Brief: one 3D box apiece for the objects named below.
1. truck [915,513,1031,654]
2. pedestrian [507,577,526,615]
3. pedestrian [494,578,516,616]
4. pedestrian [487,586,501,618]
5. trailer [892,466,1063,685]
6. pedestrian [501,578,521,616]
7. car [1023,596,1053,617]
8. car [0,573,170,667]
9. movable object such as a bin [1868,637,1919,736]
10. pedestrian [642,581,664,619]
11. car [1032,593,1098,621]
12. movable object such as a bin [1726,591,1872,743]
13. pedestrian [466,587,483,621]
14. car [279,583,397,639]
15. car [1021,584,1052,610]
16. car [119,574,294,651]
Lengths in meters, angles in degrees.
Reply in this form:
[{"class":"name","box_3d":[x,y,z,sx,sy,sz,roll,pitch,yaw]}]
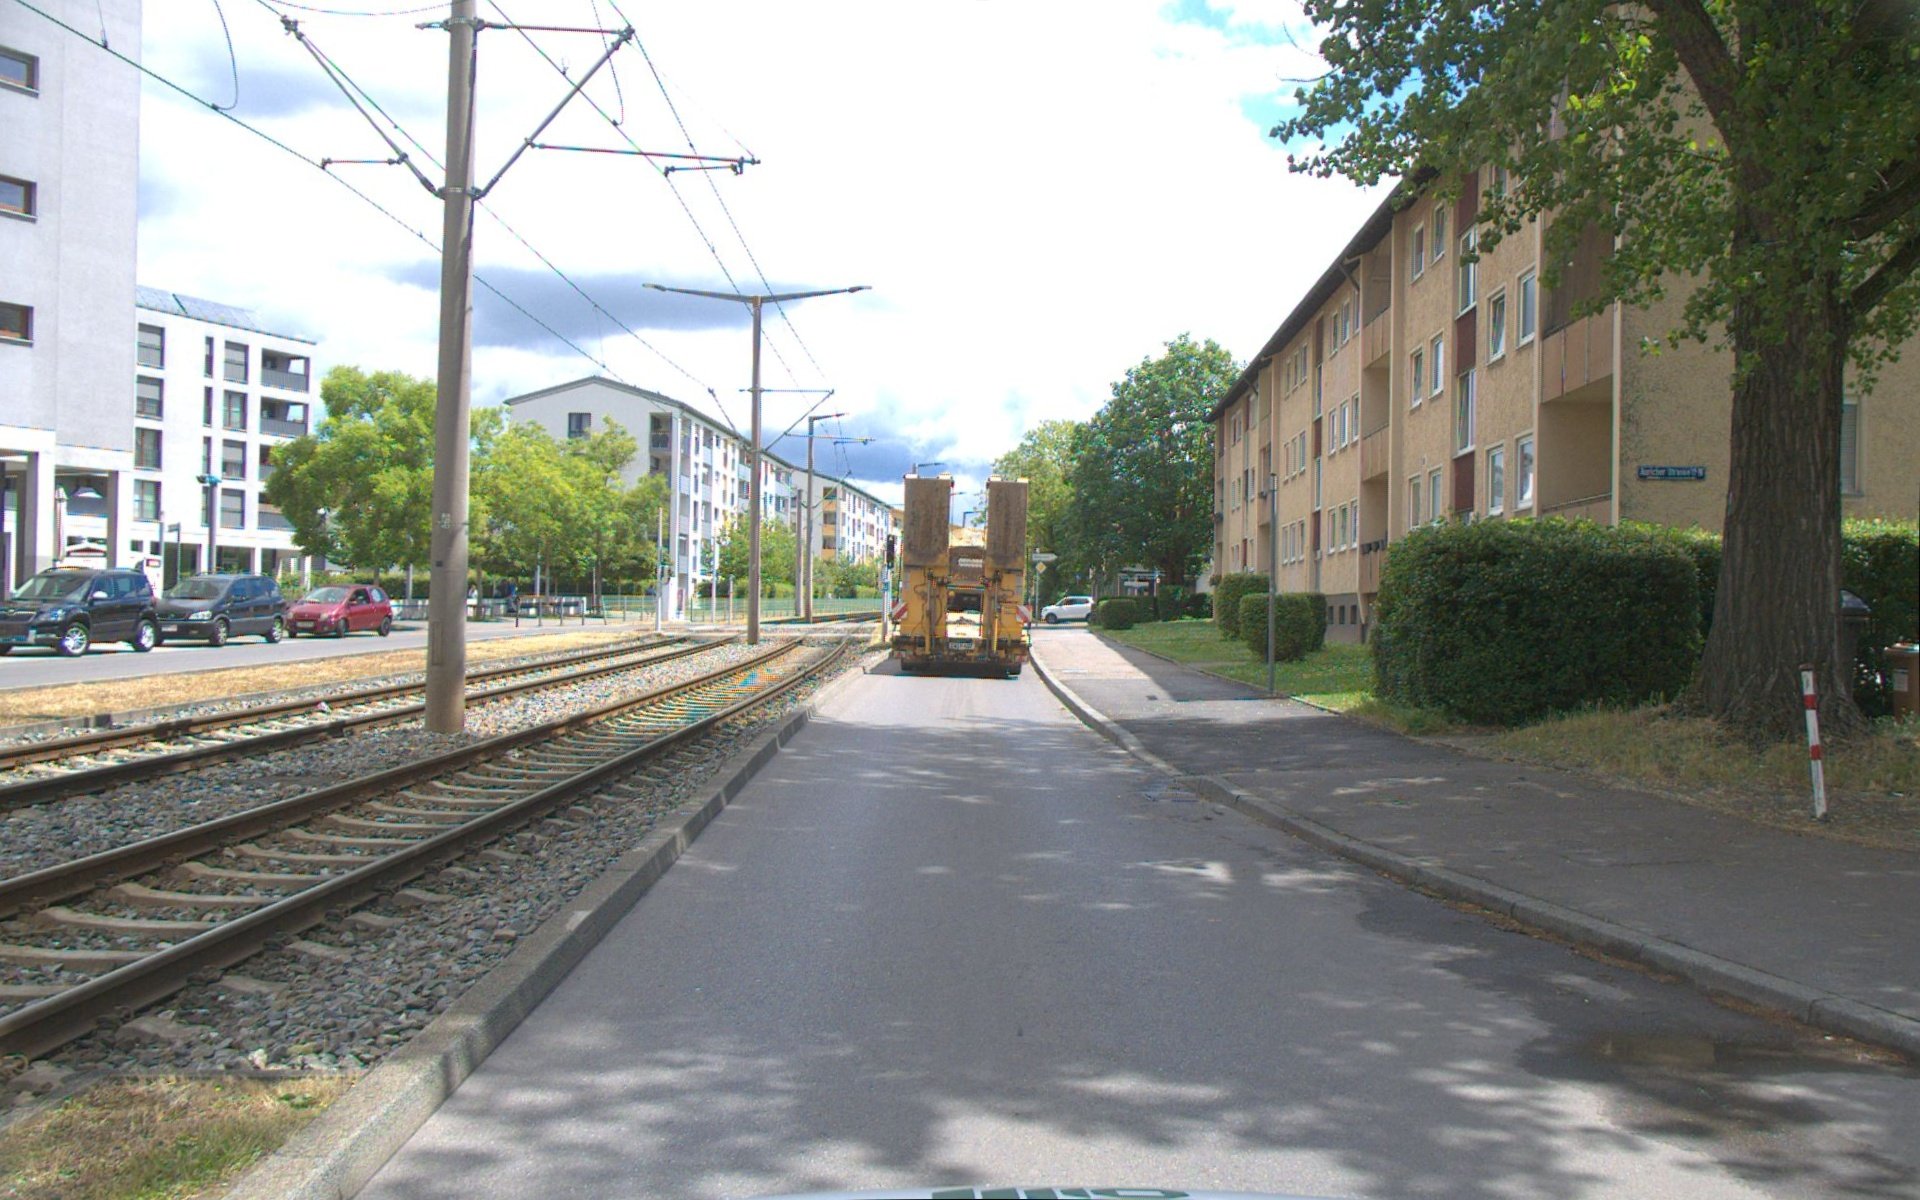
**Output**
[{"class":"truck","box_3d":[0.274,-0.454,43.860,2.776,3.388,7.984,0,1,-1]},{"class":"pedestrian","box_3d":[-18.834,-0.155,70.267,0.609,1.600,0.558,0,1,7]},{"class":"pedestrian","box_3d":[-18.981,-0.125,68.986,0.609,1.600,0.698,0,1,13]},{"class":"pedestrian","box_3d":[-19.029,0.086,67.569,0.492,1.289,0.497,-1,1,-21]},{"class":"trailer","box_3d":[0.258,-0.521,34.904,2.988,3.838,11.611,0,1,-1]},{"class":"pedestrian","box_3d":[-18.927,-0.115,69.666,0.609,1.600,0.558,0,1,13]},{"class":"car","box_3d":[5.388,0.442,114.663,1.952,1.411,4.001,0,1,1]},{"class":"car","box_3d":[-17.534,0.338,32.607,1.953,1.691,4.100,1,1,-1]},{"class":"movable object such as a bin","box_3d":[9.695,0.853,16.568,0.786,0.931,0.761,0,1,-1]},{"class":"pedestrian","box_3d":[-13.862,0.003,74.644,0.733,1.690,0.870,0,1,5]},{"class":"car","box_3d":[6.063,0.411,95.719,3.521,1.612,2.001,0,-1,14]},{"class":"movable object such as a bin","box_3d":[8.375,0.653,16.545,1.075,1.464,0.761,0,1,-1]},{"class":"pedestrian","box_3d":[-22.637,0.180,77.085,0.533,1.574,0.528,0,1,22]},{"class":"car","box_3d":[-17.007,0.273,45.393,1.579,1.451,3.426,0,1,8]},{"class":"car","box_3d":[5.064,-0.202,109.940,1.952,1.646,4.001,0,1,1]},{"class":"car","box_3d":[-17.391,0.253,38.409,1.951,1.676,4.102,0,1,4]}]
